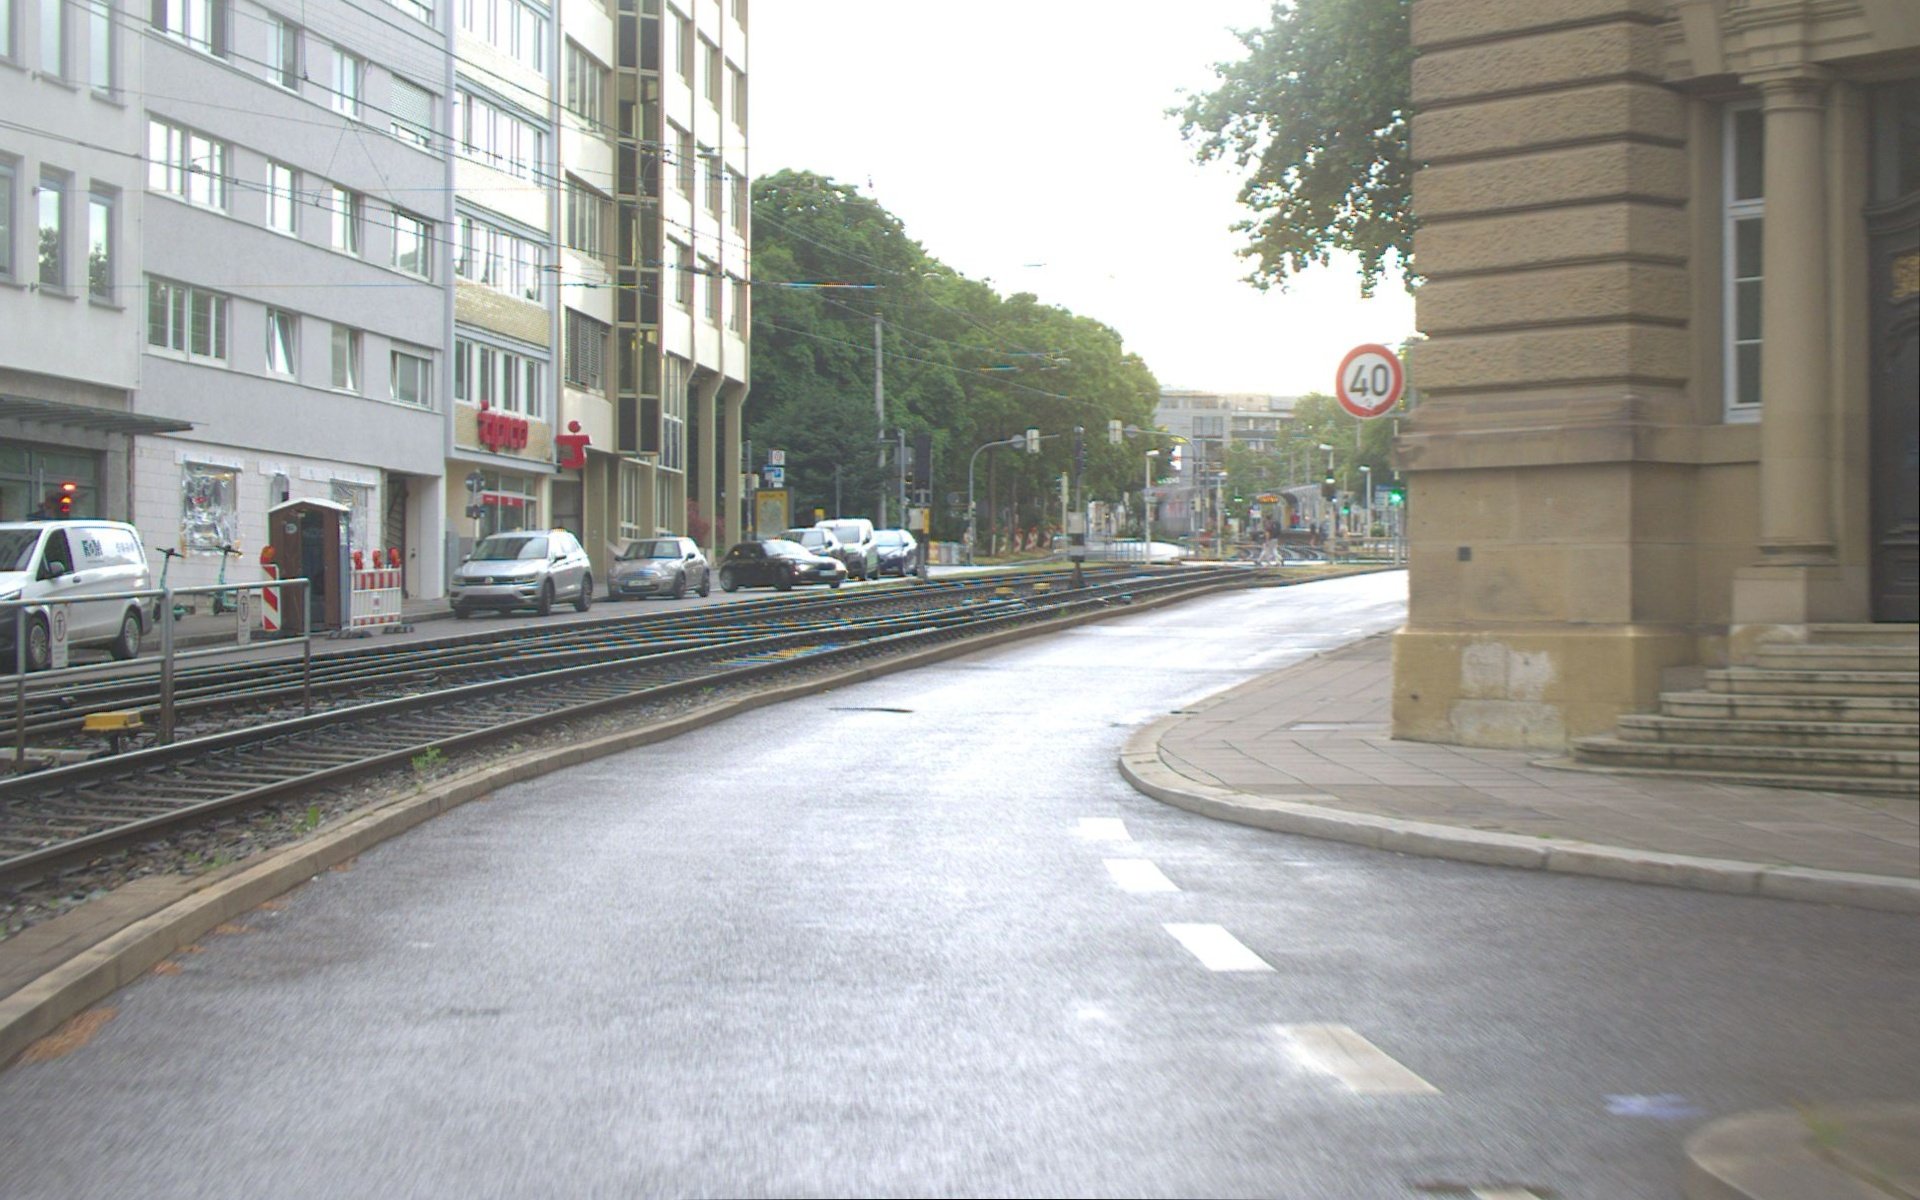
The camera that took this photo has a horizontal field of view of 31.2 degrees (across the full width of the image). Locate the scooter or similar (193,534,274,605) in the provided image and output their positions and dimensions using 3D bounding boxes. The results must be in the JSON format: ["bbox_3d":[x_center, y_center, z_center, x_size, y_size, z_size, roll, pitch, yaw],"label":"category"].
[{"bbox_3d":[-12.832,-0.550,60.770,0.765,1.215,2.065,1,1,7],"label":"scooter or similar"}]

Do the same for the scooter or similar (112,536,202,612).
[{"bbox_3d":[-13.227,-0.441,56.677,0.765,1.215,2.065,1,1,7],"label":"scooter or similar"}]

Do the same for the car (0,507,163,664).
[{"bbox_3d":[-11.974,-0.235,43.691,1.994,1.876,4.926,1,1,7],"label":"car"}]

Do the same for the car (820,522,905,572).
[{"bbox_3d":[-2.994,-1.645,106.562,1.994,1.451,4.310,1,1,7],"label":"car"}]

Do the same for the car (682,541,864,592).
[{"bbox_3d":[-4.638,-0.835,84.942,4.307,1.159,1.995,2,1,41],"label":"car"}]

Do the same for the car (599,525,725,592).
[{"bbox_3d":[-6.740,-0.957,78.194,1.994,1.451,4.310,1,1,7],"label":"car"}]

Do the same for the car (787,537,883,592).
[{"bbox_3d":[-3.431,-1.002,95.216,1.994,1.451,4.310,1,1,7],"label":"car"}]

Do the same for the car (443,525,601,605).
[{"bbox_3d":[-8.360,-0.685,66.019,1.994,1.451,4.310,1,1,7],"label":"car"}]

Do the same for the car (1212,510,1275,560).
[{"bbox_3d":[9.888,-2.262,119.628,1.994,1.656,3.999,1,1,7],"label":"car"}]
